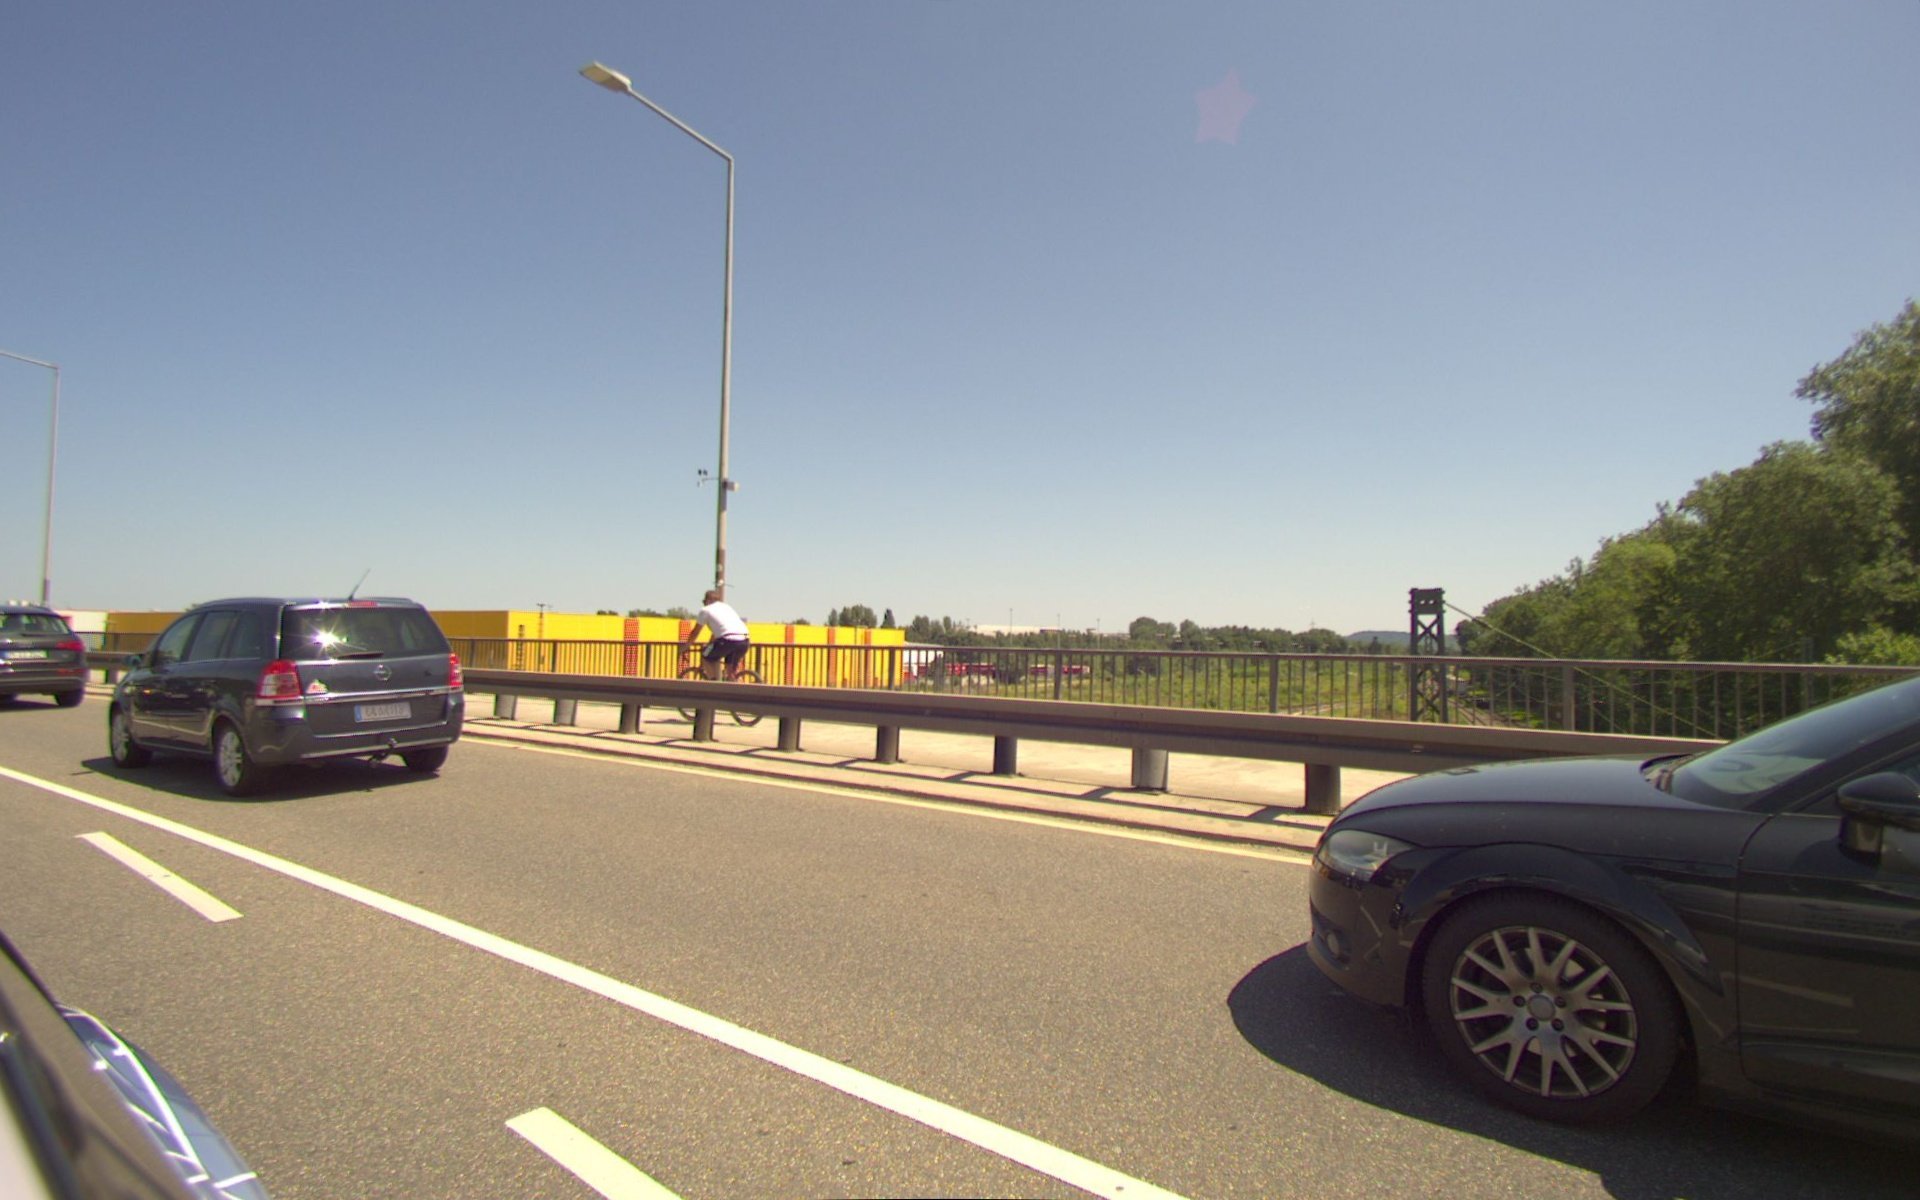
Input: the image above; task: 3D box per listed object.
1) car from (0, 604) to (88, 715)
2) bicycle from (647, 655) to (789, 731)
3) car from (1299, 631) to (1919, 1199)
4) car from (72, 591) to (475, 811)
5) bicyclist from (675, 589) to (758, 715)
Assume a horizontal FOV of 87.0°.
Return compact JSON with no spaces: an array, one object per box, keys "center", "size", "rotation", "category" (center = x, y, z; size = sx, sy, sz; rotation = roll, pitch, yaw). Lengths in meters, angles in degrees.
[{"center":[-16.140,0.921,16.371],"size":[4.283,1.653,1.788],"rotation":[-1,-1,30],"category":"car"},{"center":[-3.092,1.150,12.824],"size":[1.986,0.840,0.583],"rotation":[-1,-1,35],"category":"bicycle"},{"center":[3.133,0.760,2.598],"size":[3.969,1.318,1.661],"rotation":[-1,-1,40],"category":"car"},{"center":[-6.509,0.780,9.450],"size":[4.241,1.638,1.692],"rotation":[-1,-1,34],"category":"car"},{"center":[-3.080,0.638,12.824],"size":[0.894,1.533,0.578],"rotation":[-1,-1,34],"category":"bicyclist"}]
